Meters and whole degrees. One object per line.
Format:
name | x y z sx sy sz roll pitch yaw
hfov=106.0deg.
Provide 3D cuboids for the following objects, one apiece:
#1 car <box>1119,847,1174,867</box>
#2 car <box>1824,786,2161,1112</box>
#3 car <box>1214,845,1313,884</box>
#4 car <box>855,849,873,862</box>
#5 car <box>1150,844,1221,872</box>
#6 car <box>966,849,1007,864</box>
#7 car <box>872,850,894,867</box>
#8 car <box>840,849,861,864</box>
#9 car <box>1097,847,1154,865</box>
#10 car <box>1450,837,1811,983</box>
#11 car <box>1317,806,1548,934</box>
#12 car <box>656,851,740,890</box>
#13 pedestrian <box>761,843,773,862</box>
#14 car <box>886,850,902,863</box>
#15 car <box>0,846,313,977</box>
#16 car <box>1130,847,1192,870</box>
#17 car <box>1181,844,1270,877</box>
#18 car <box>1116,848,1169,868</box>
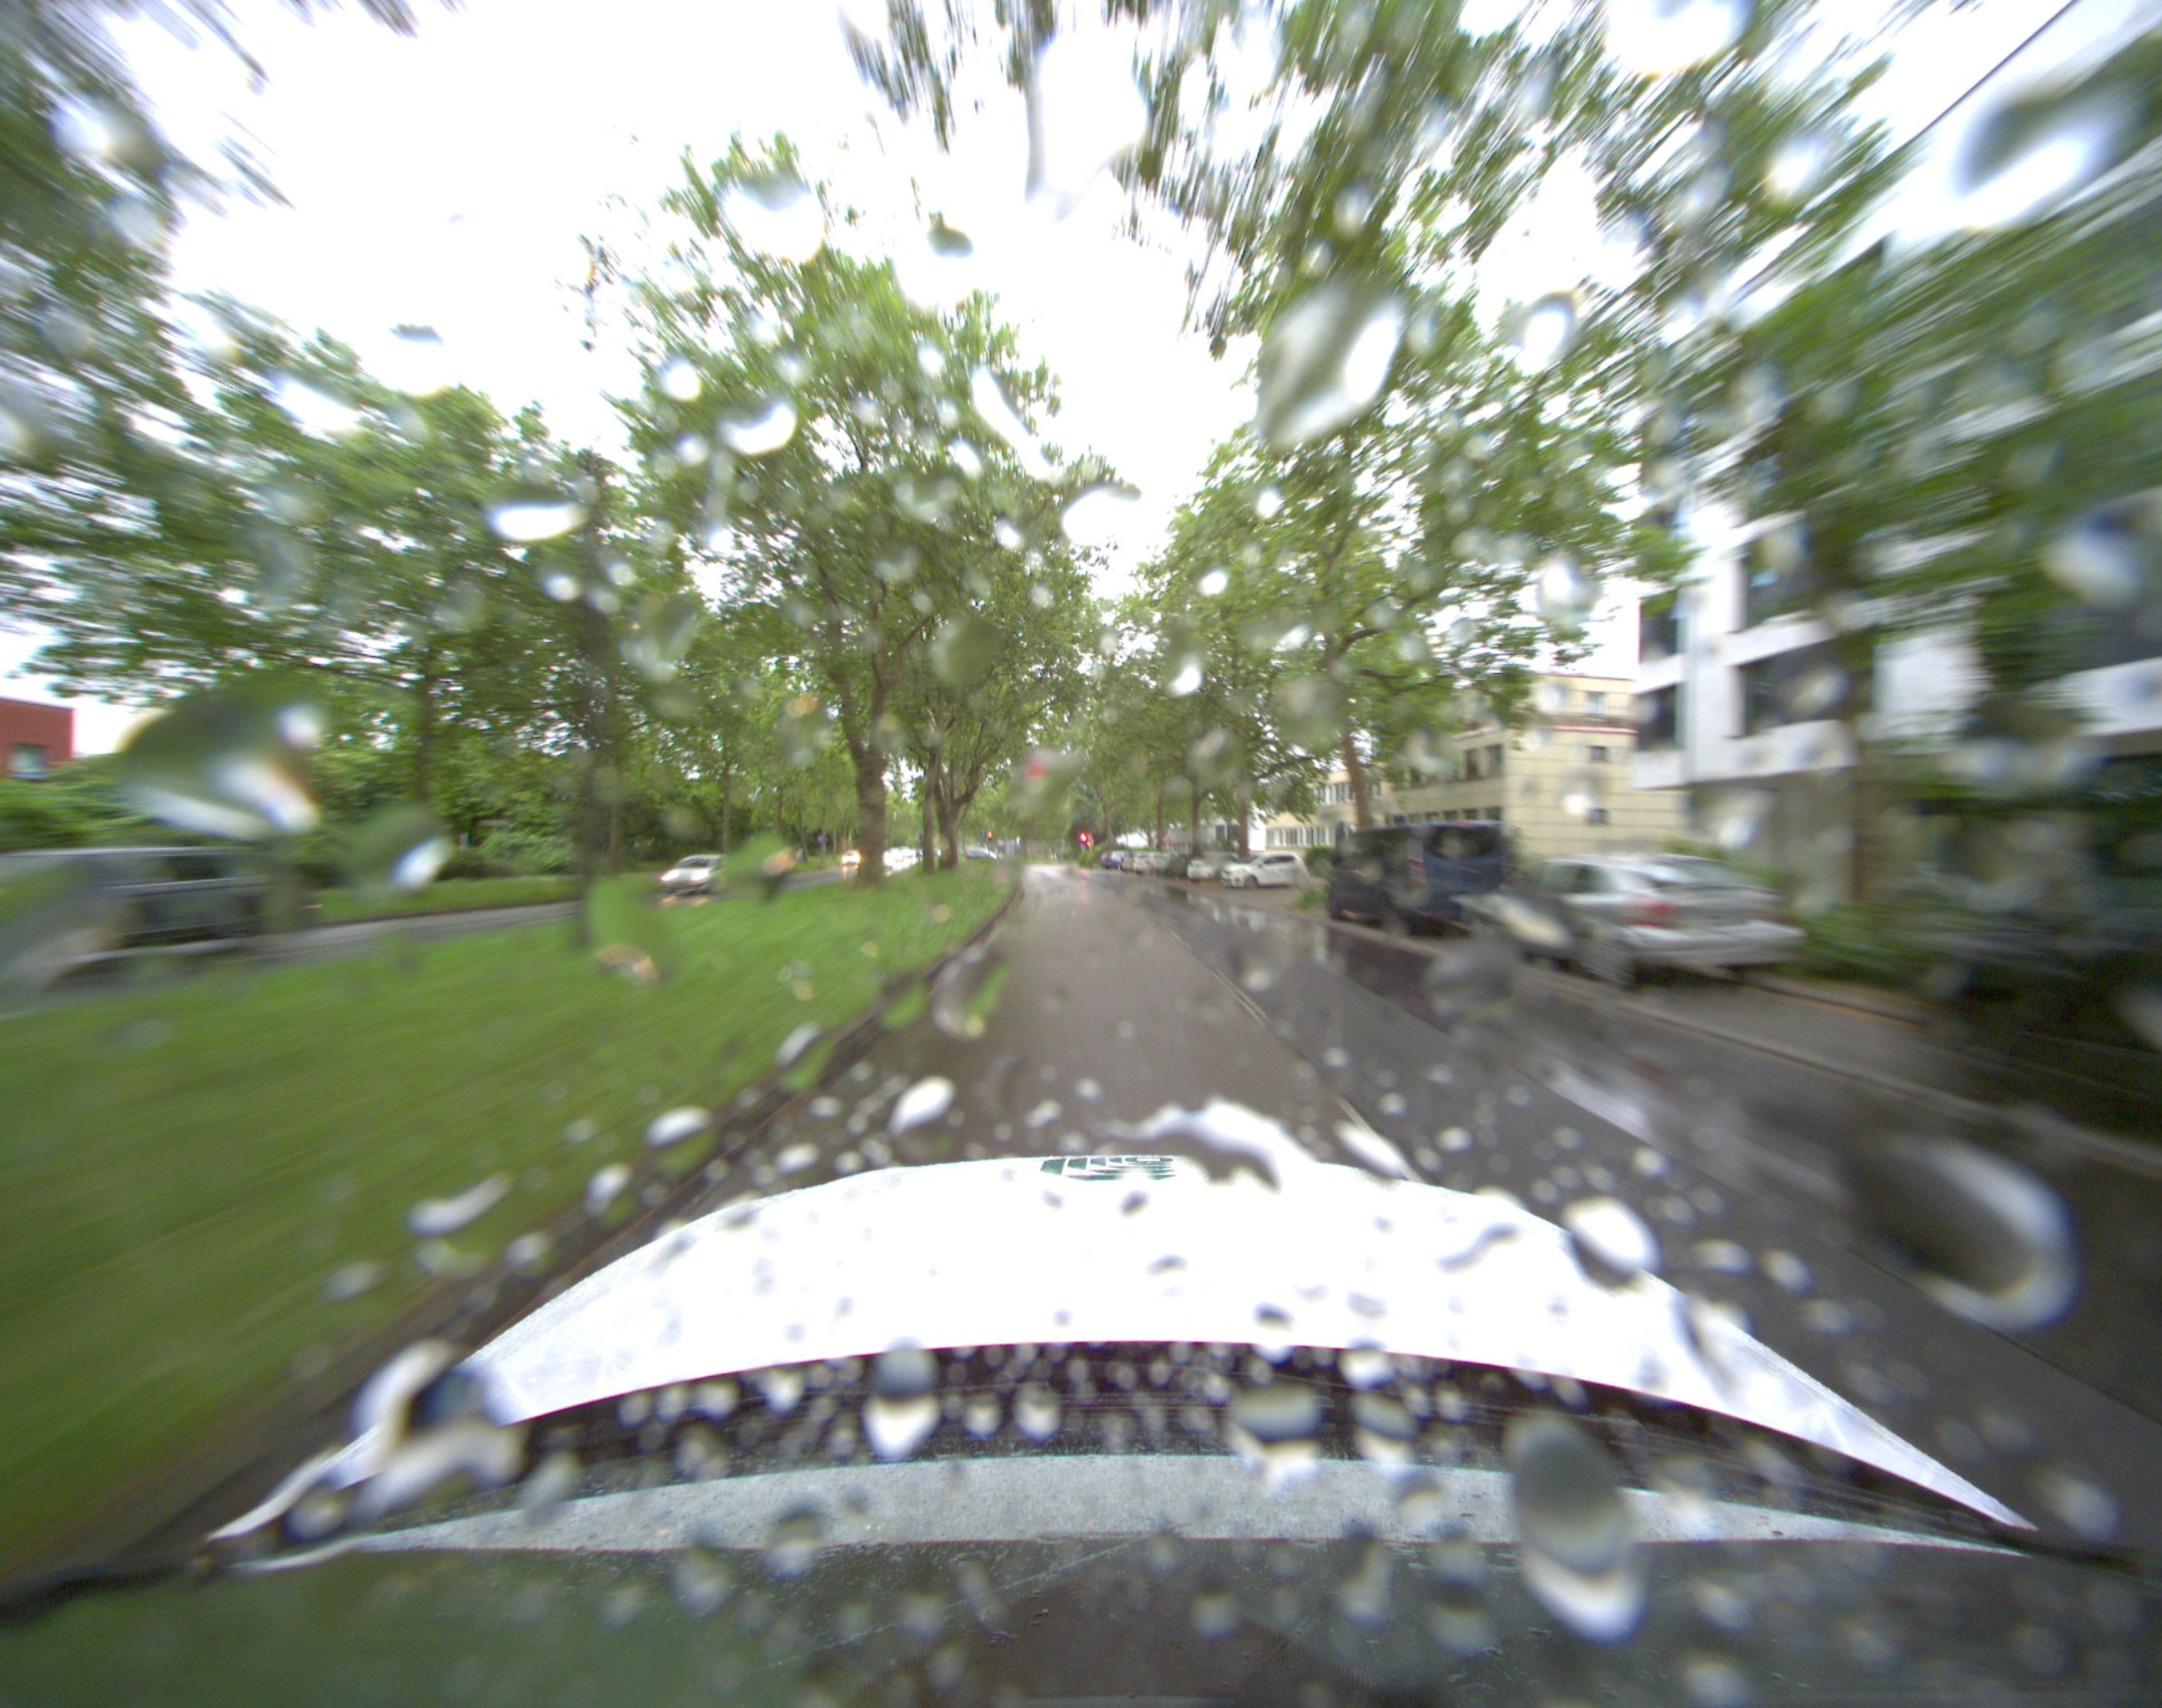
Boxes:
car | 4.676 0.209 57.991 3.708 1.416 1.756 0 0 -36
car | 6.071 0.461 3.547 1.737 1.566 4.371 0 0 0
car | 7.554 0.410 33.702 3.646 1.504 1.738 -1 1 -19
car | -26.829 0.193 100.738 1.743 1.591 4.197 0 0 -9
car | 6.117 0.226 47.347 4.056 1.539 1.730 0 0 -37
car | -10.512 0.273 90.603 4.255 1.650 1.758 0 0 21
car | -17.342 0.396 71.430 1.745 1.476 4.392 0 0 -12
car | -23.569 0.248 83.398 1.744 1.476 4.066 0 0 -12
car | 3.710 0.147 67.002 4.511 1.459 1.732 0 0 -32
car | 6.517 0.558 10.366 1.737 1.469 4.306 0 0 0
car | 6.390 0.245 15.709 2.114 2.028 5.527 0 0 0
car | -15.041 0.600 32.216 1.740 1.459 3.835 0 0 -5
pedestrian | -27.930 -0.162 72.467 0.831 1.674 0.896 0 0 -11
car | -23.166 0.264 100.822 1.744 1.591 4.314 0 0 -11
car | -13.763 0.674 11.497 1.738 1.561 4.366 0 0 -1
car | 5.145 0.293 52.470 3.705 1.416 1.732 0 0 -32
car | 6.776 0.284 37.945 4.055 1.428 1.730 0 0 -35
car | 4.643 0.279 61.275 3.708 1.416 1.730 0 0 -35
